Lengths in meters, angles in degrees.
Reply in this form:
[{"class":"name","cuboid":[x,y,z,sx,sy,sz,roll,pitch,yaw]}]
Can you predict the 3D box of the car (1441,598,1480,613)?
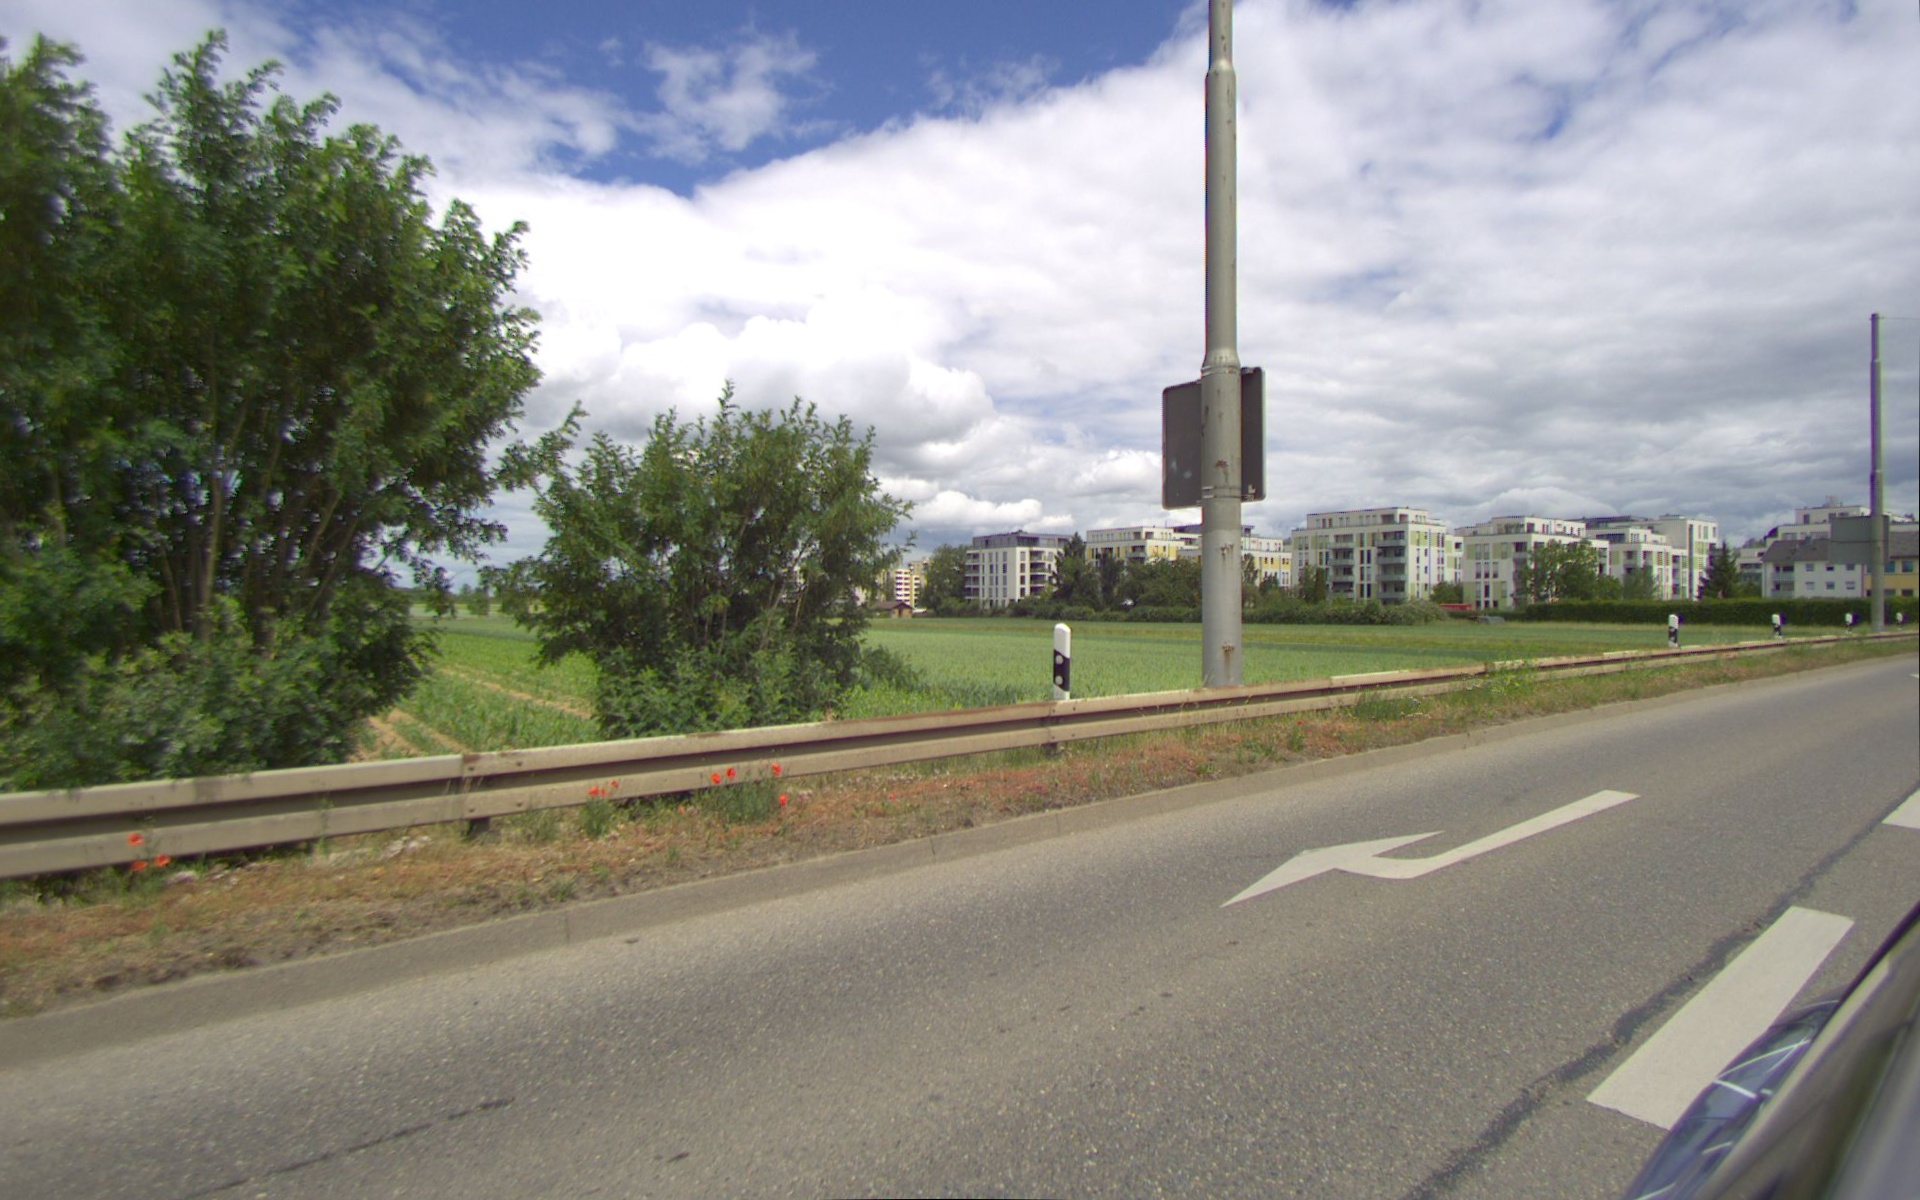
[{"class":"car","cuboid":[69.682,0.709,141.022,1.964,2.039,4.435,0,1,-39]}]
